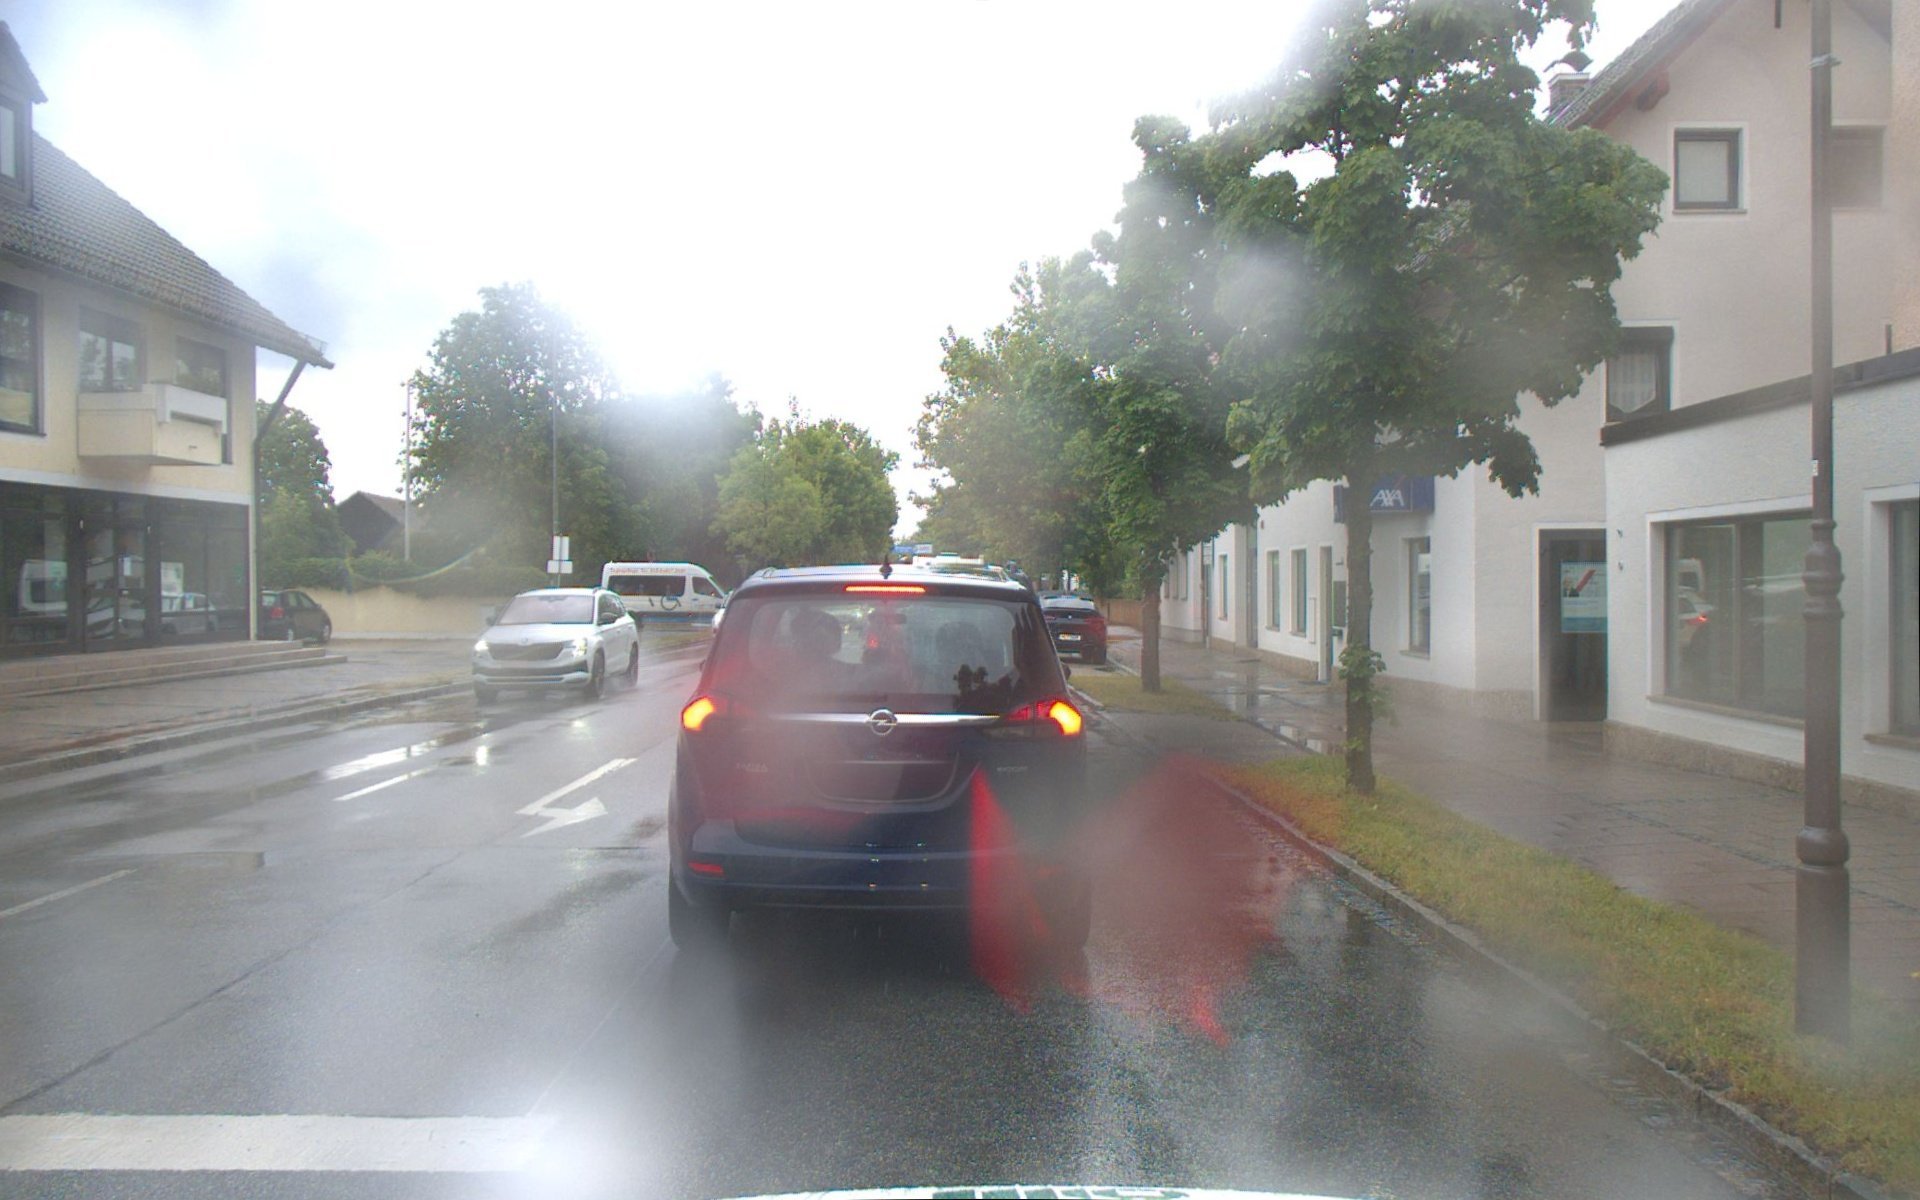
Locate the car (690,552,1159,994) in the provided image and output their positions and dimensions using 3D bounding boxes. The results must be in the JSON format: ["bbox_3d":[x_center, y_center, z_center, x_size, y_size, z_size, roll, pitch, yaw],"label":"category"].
[{"bbox_3d":[-0.154,0.642,8.020,1.733,1.632,3.662,1,0,-1],"label":"car"}]

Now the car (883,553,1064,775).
[{"bbox_3d":[0.094,0.525,15.294,1.470,1.807,3.111,1,0,-1],"label":"car"}]

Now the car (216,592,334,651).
[{"bbox_3d":[-17.501,0.515,42.405,1.574,1.404,3.508,-1,0,-1],"label":"car"}]

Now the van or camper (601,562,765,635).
[{"bbox_3d":[-10.740,-0.079,64.441,6.125,2.754,2.099,0,0,-5],"label":"van or camper"}]

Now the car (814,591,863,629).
[{"bbox_3d":[-5.225,0.401,71.546,1.716,1.538,4.230,-2,0,0],"label":"car"}]

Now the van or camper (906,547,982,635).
[{"bbox_3d":[-0.519,-0.284,53.654,2.312,2.712,5.370,0,0,-1],"label":"van or camper"}]

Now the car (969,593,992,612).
[{"bbox_3d":[1.565,0.220,127.992,1.597,1.402,3.622,1,0,-1],"label":"car"}]

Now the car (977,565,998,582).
[{"bbox_3d":[2.309,-2.196,137.590,1.597,1.402,3.622,-1,0,-1],"label":"car"}]

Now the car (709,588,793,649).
[{"bbox_3d":[-5.781,0.486,46.231,1.887,1.594,4.125,-1,0,-1],"label":"car"}]

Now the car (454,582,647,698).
[{"bbox_3d":[-6.116,0.555,25.174,1.927,1.590,4.151,-1,0,-1],"label":"car"}]

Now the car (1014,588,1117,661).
[{"bbox_3d":[2.453,0.559,39.309,2.075,1.609,3.934,1,0,-1],"label":"car"}]
